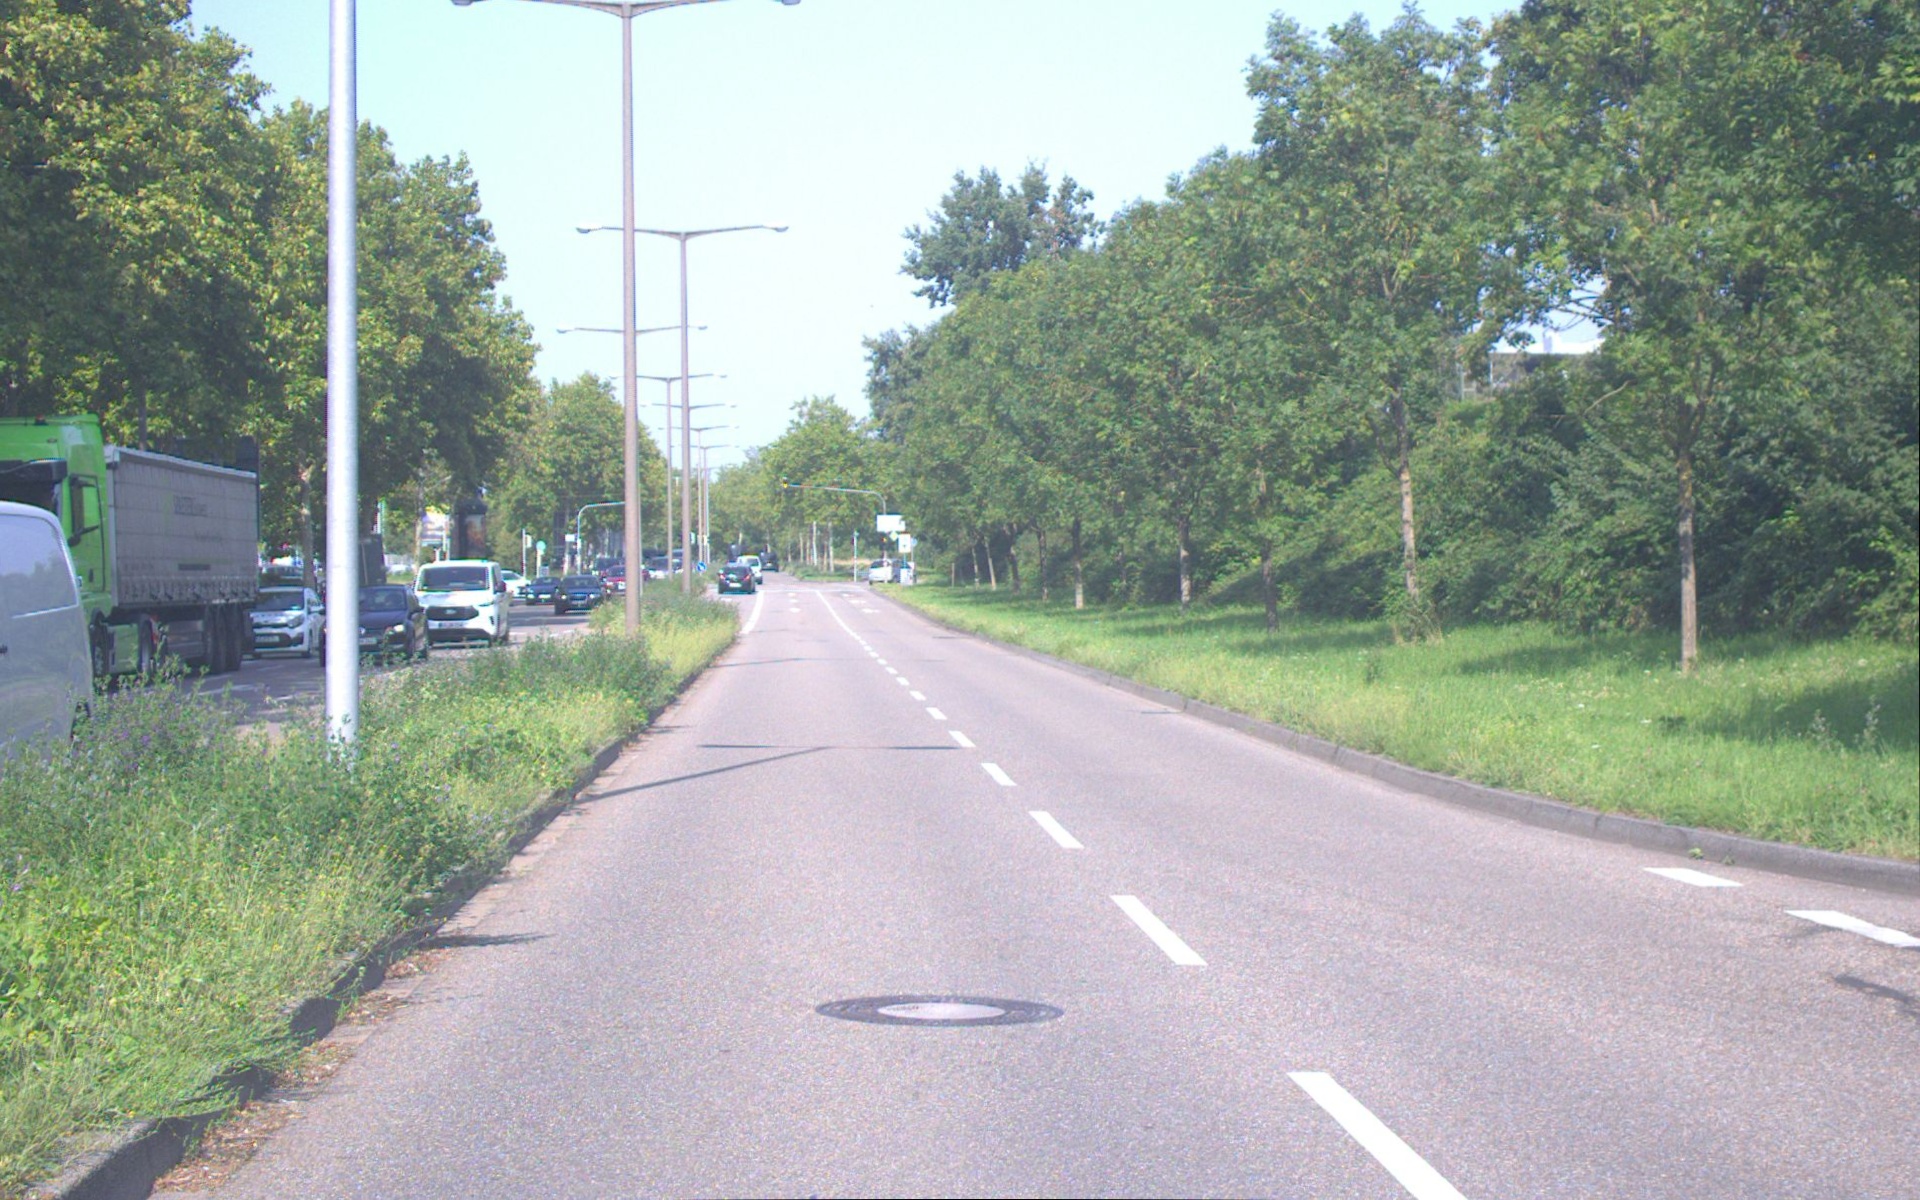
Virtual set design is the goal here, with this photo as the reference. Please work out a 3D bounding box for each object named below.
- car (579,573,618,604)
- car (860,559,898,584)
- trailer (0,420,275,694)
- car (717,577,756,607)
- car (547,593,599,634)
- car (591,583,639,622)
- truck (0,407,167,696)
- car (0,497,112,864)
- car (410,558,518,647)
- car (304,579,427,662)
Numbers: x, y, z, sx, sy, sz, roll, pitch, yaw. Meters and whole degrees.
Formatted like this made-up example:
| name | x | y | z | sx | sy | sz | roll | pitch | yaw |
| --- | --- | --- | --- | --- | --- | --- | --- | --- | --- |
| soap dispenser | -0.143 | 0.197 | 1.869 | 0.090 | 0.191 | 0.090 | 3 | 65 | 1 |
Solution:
| name | x | y | z | sx | sy | sz | roll | pitch | yaw |
| --- | --- | --- | --- | --- | --- | --- | --- | --- | --- |
| car | -20.663 | -0.648 | 196.681 | 1.993 | 1.754 | 4.477 | 0 | 0 | -3 |
| car | -4.894 | -1.723 | 207.682 | 1.794 | 1.505 | 3.999 | 0 | 0 | 6 |
| trailer | -13.450 | -0.594 | 55.353 | 2.633 | 3.809 | 13.813 | -2 | 0 | -3 |
| car | -11.392 | -0.424 | 175.591 | 1.692 | 1.481 | 4.000 | 0 | 0 | 0 |
| car | -14.744 | 0.506 | 131.090 | 1.746 | 1.474 | 4.587 | -2 | 0 | -5 |
| car | -15.962 | 0.112 | 159.070 | 1.954 | 1.718 | 4.587 | -1 | 0 | -3 |
| truck | -13.111 | -0.622 | 48.540 | 2.607 | 3.807 | 5.892 | -2 | 0 | -3 |
| car | -5.841 | 0.432 | 17.772 | 1.911 | 1.857 | 4.890 | -2 | 0 | -3 |
| car | -11.231 | 0.034 | 78.089 | 1.993 | 1.947 | 5.037 | 0 | 0 | -3 |
| car | -10.701 | 0.361 | 62.077 | 1.614 | 1.394 | 3.858 | -2 | 0 | -2 |
